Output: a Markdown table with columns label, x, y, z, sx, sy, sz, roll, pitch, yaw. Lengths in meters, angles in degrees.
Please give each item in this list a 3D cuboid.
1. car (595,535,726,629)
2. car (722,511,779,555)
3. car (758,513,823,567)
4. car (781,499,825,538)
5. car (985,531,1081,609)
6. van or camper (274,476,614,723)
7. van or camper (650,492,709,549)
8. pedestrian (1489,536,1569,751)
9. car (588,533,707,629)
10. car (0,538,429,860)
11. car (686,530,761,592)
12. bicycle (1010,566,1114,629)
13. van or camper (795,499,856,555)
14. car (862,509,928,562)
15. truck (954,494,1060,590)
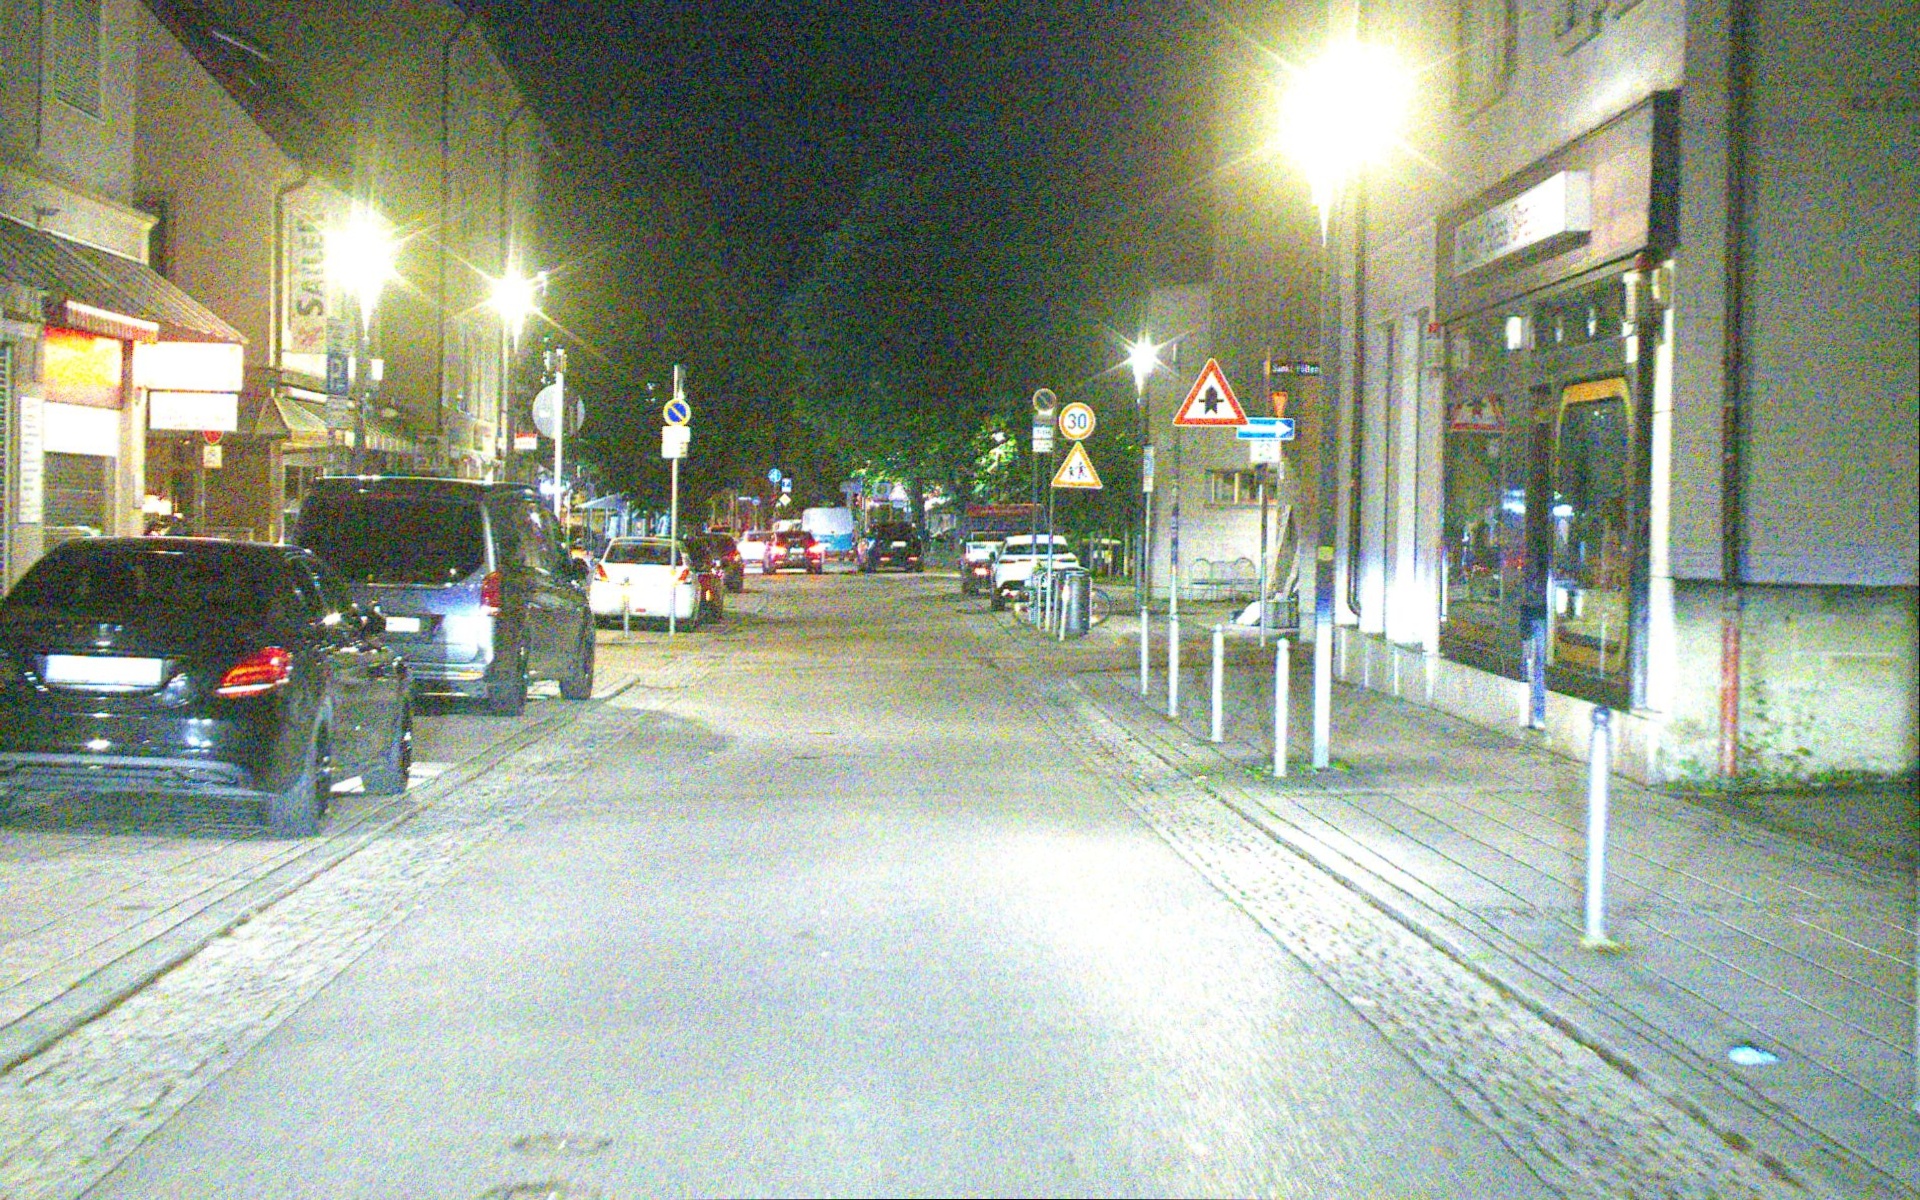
| label | x | y | z | sx | sy | sz | roll | pitch | yaw |
| --- | --- | --- | --- | --- | --- | --- | --- | --- | --- |
| car | -5.330 | -0.351 | 61.714 | 2.019 | 1.483 | 5.008 | 3 | 1 | -2 |
| car | -8.179 | -2.611 | 134.018 | 1.993 | 1.697 | 4.001 | 0 | 1 | -6 |
| car | -5.905 | -2.095 | 119.606 | 1.993 | 1.817 | 4.001 | 0 | 1 | -7 |
| car | -7.605 | -3.937 | 165.950 | 1.839 | 1.894 | 3.846 | 0 | 1 | -7 |
| car | 1.456 | -0.625 | 69.993 | 1.789 | 1.486 | 4.059 | -1 | 1 | -1 |
| van or camper | -4.393 | -0.057 | 30.095 | 1.846 | 1.935 | 5.153 | 1 | 1 | 4 |
| van or camper | -10.413 | -2.955 | 127.410 | 1.866 | 2.004 | 4.263 | 2 | 1 | -8 |
| pedestrian | 4.160 | 0.312 | 25.160 | 0.501 | 1.542 | 0.480 | 1 | 1 | 5 |
| car | -5.079 | -0.339 | 56.270 | 1.728 | 1.471 | 3.847 | 1 | 1 | -2 |
| car | -3.959 | 0.416 | 17.972 | 1.716 | 1.408 | 4.386 | 2 | 1 | -1 |
| car | -6.207 | -1.031 | 89.827 | 1.673 | 1.538 | 4.232 | 1 | 1 | -7 |
| bicycle | 1.740 | -0.043 | 58.571 | 1.754 | 1.058 | 0.346 | 0 | 1 | -4 |
| van or camper | -5.768 | -3.144 | 146.863 | 2.108 | 2.309 | 4.263 | -1 | 2 | -8 |
| car | -2.307 | -2.265 | 120.603 | 1.814 | 1.822 | 4.348 | 0 | 1 | -8 |
| truck | 1.120 | -1.474 | 85.558 | 2.336 | 2.304 | 5.781 | 0 | 2 | -2 |
